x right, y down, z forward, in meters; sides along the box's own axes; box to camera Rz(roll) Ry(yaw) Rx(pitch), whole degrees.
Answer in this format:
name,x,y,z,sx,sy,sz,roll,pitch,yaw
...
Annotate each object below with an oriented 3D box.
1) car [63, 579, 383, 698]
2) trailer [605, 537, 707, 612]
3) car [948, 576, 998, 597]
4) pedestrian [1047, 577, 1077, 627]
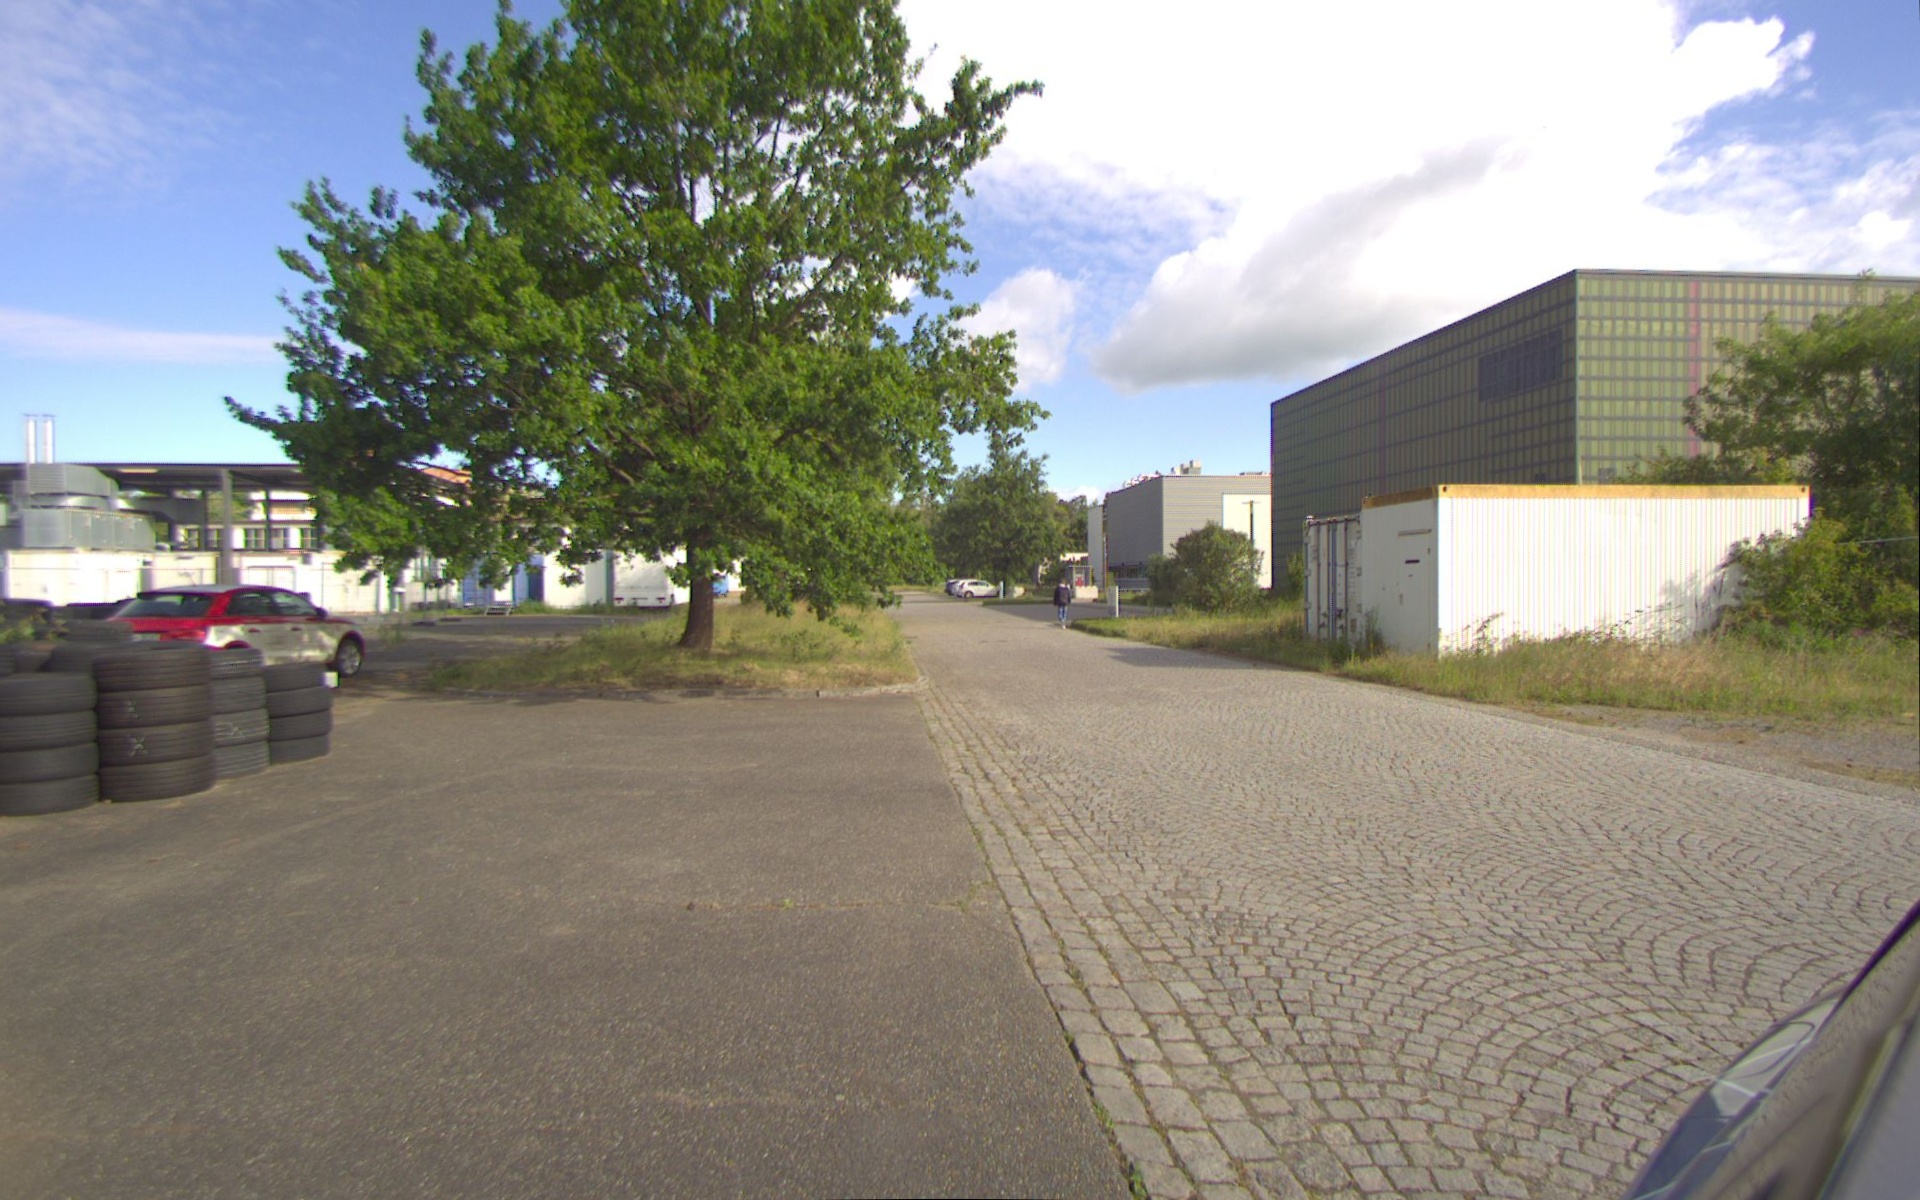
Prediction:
name,x,y,z,sx,sy,sz,roll,pitch,yaw
car,-10.389,0.450,14.694,1.696,1.482,3.999,0,1,1
trailer,-15.502,-1.309,52.474,2.869,3.514,9.910,0,1,-4
car,1.029,-1.118,81.758,3.924,1.663,2.000,0,1,0
pedestrian,3.299,0.055,32.821,0.851,1.578,1.028,0,1,1
